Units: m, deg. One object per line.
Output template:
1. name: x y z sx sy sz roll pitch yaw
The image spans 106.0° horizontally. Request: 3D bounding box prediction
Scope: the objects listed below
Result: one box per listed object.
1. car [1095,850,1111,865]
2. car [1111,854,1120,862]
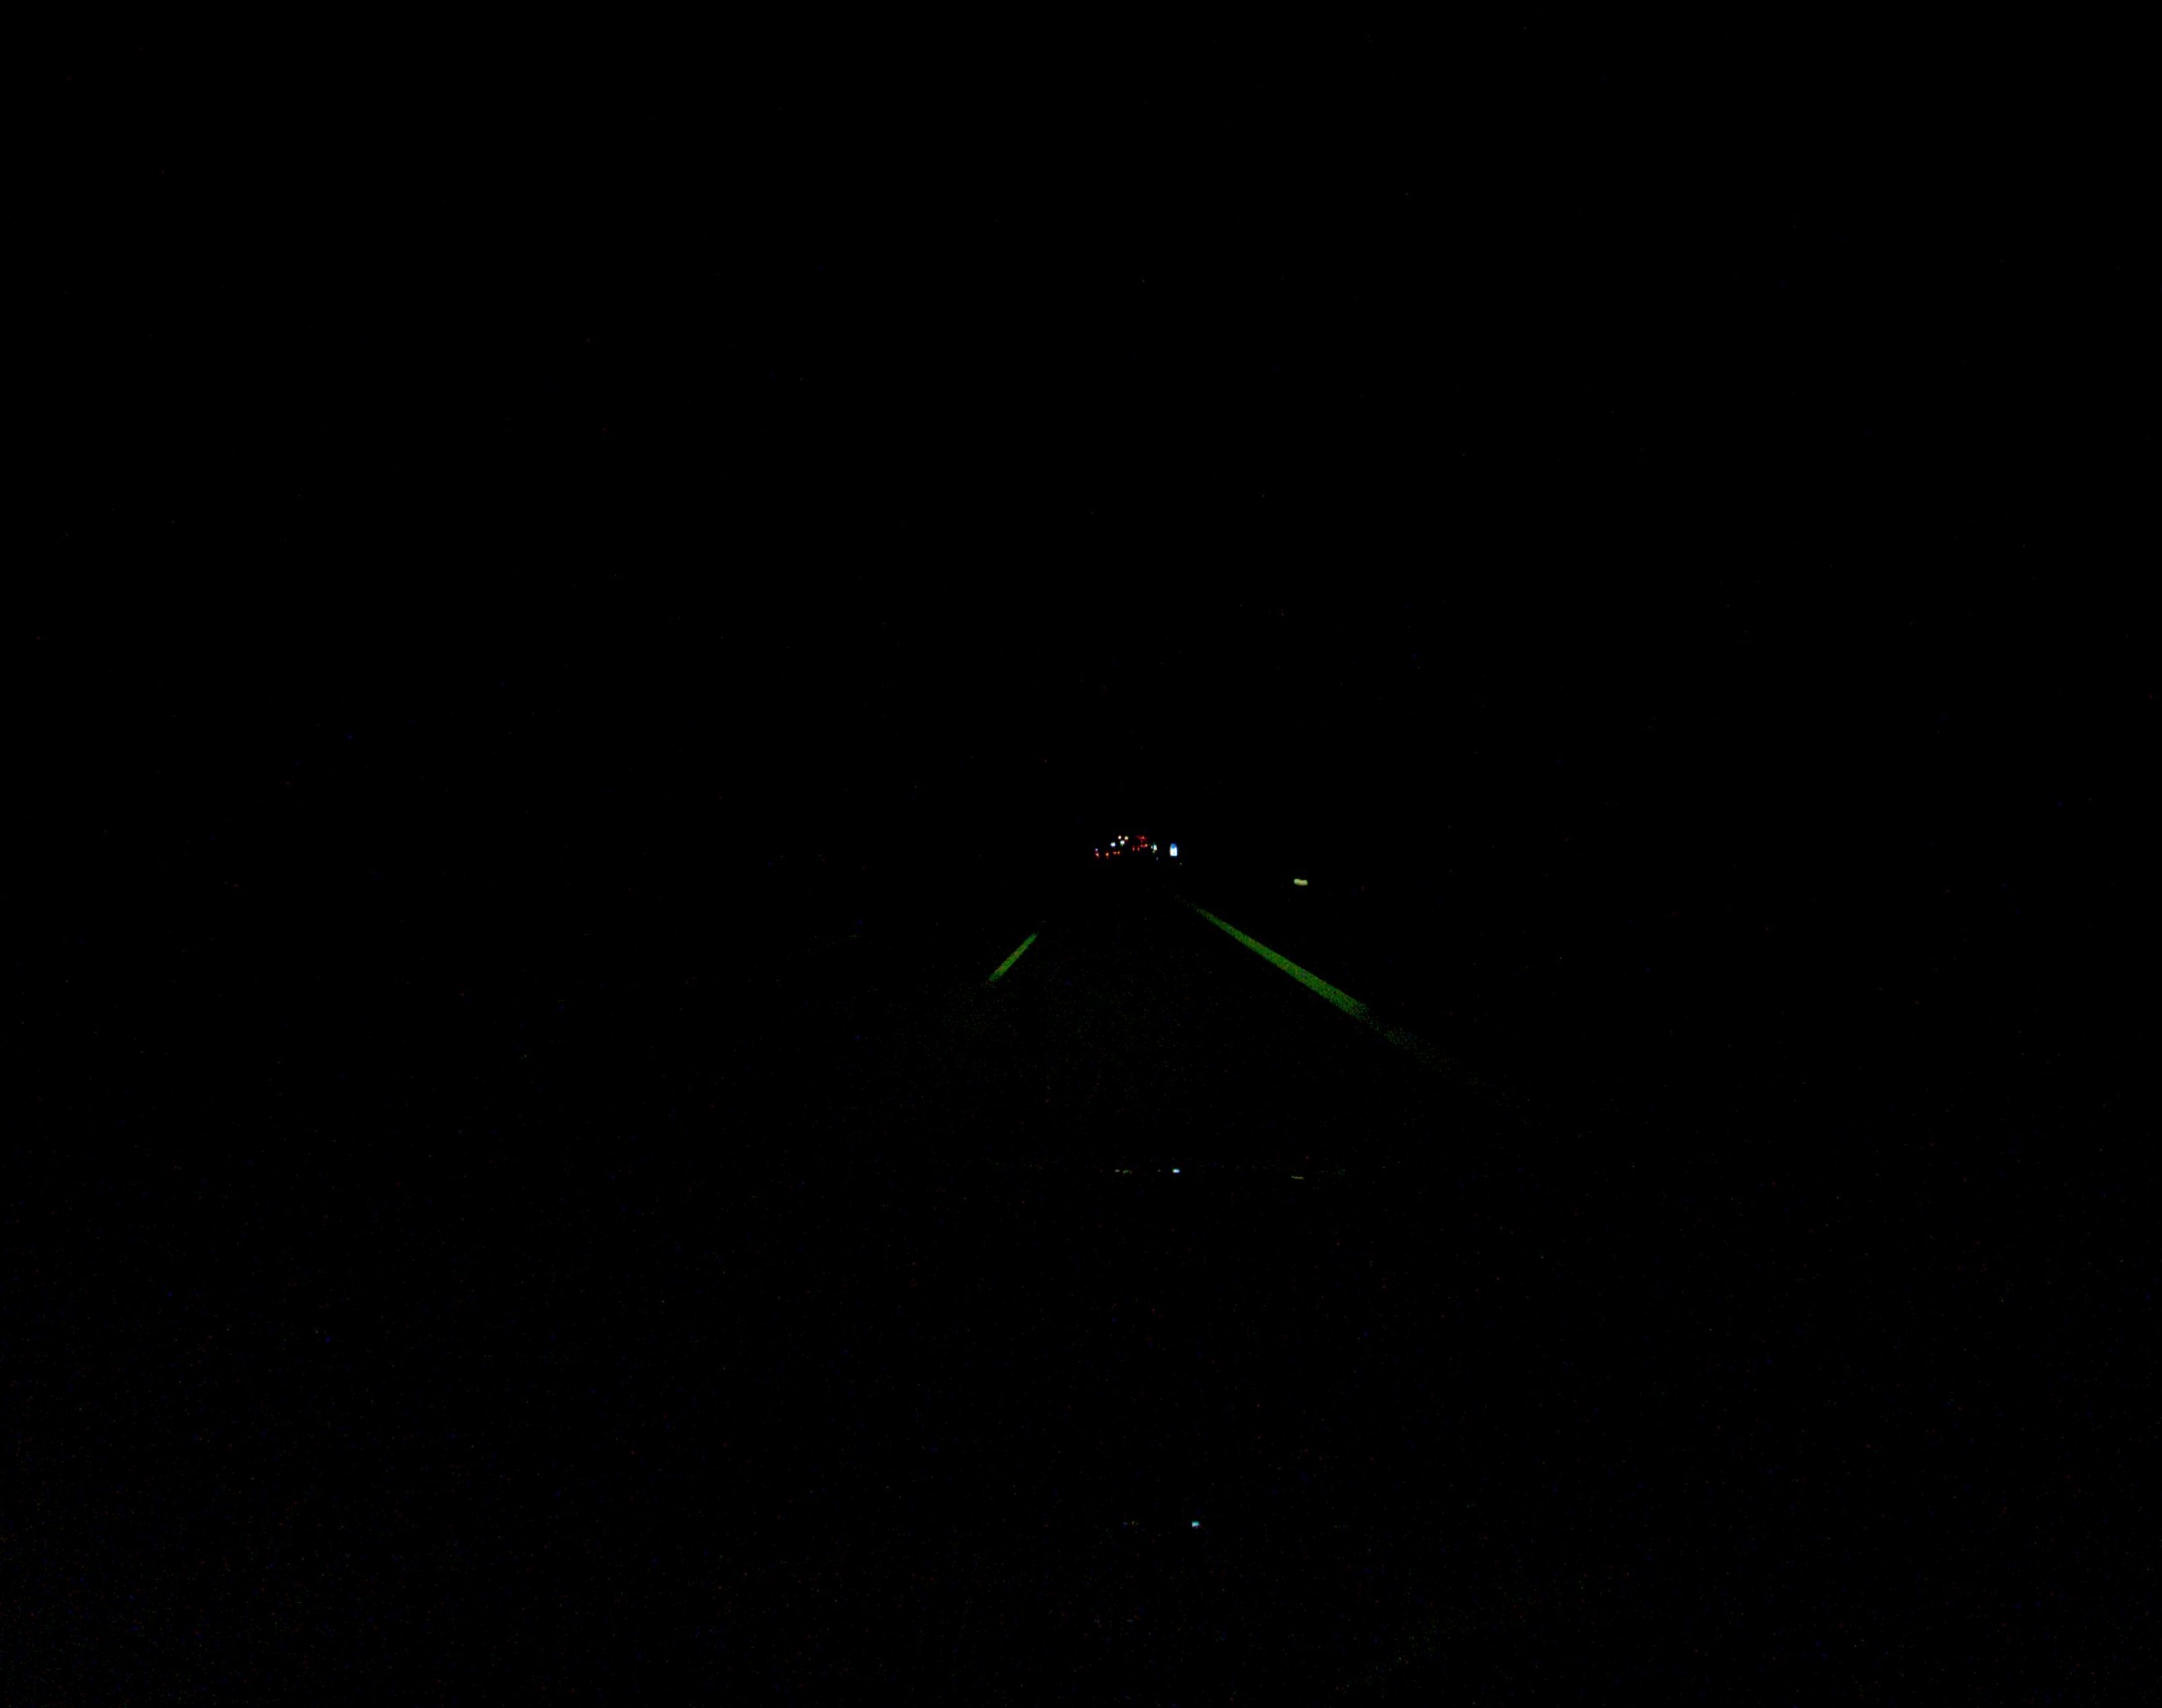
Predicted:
1. car: 4.126 0.650 149.231 2.776 2.733 6.302 -1 -1 2
2. car: 11.033 1.321 261.731 2.776 2.733 6.301 -1 -1 2
